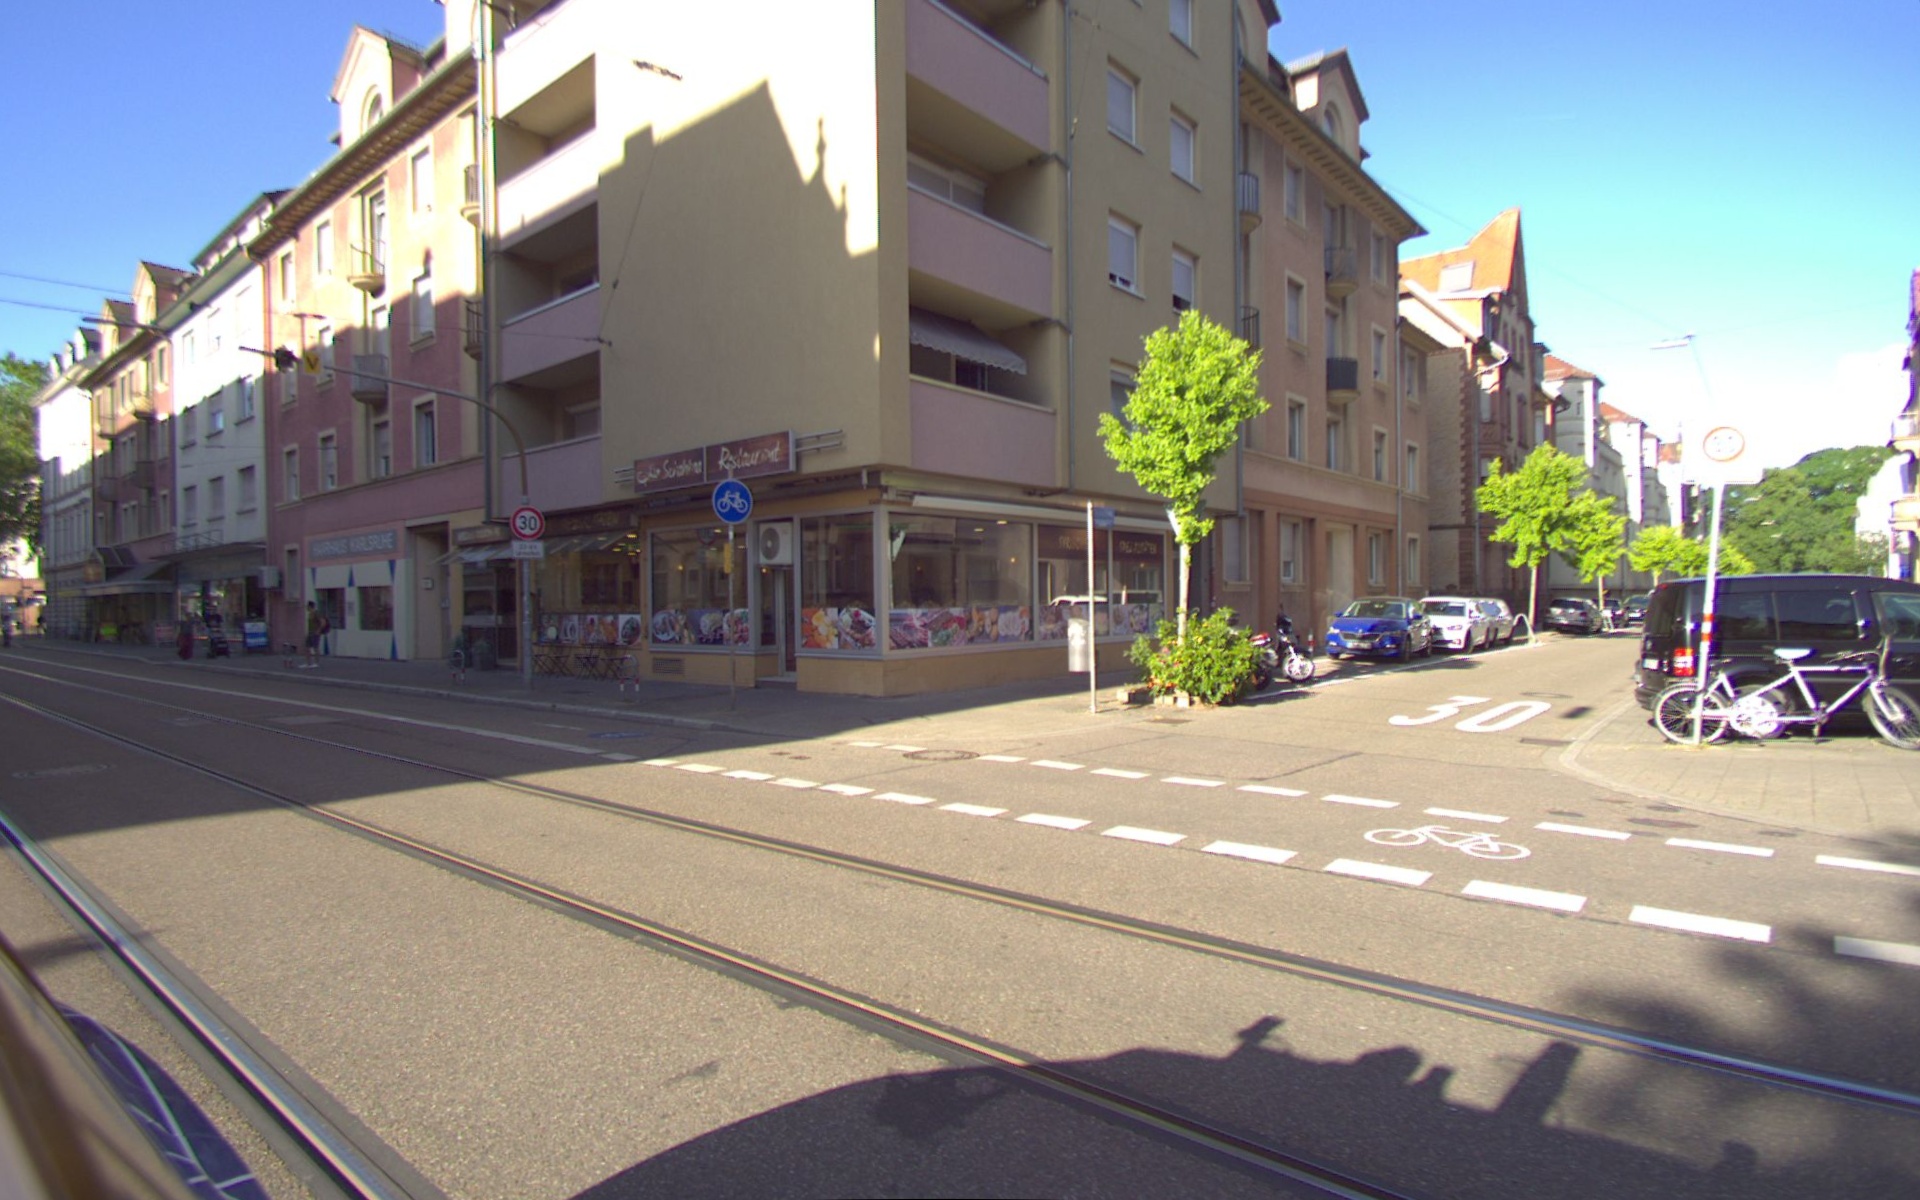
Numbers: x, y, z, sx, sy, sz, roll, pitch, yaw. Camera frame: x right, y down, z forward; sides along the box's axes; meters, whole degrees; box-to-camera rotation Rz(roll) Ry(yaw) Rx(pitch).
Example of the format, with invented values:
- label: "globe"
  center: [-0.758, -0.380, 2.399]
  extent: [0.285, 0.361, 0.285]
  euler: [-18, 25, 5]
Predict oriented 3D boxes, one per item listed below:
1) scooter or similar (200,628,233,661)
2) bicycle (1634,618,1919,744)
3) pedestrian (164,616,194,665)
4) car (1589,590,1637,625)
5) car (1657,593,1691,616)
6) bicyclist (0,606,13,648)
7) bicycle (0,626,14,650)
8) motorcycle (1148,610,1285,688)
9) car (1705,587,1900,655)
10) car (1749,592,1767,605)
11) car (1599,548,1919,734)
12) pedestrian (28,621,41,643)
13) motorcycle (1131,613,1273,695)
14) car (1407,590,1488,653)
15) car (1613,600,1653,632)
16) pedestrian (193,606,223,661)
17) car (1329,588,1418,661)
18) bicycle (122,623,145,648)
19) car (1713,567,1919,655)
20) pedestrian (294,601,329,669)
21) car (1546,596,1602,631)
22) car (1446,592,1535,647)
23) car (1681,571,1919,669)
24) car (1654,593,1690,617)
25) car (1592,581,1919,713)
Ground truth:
- label: "scooter or similar"
  center: [-24.561, 1.459, 33.426]
  extent: [1.104, 1.069, 0.655]
  euler: [-2, 0, 41]
- label: "bicycle"
  center: [8.197, 0.798, 10.062]
  extent: [2.429, 1.118, 0.676]
  euler: [-4, -1, 34]
- label: "pedestrian"
  center: [-25.619, 1.328, 33.183]
  extent: [0.623, 1.560, 0.629]
  euler: [-1, 1, 40]
- label: "car"
  center: [31.387, 0.350, 48.609]
  extent: [1.506, 1.582, 3.521]
  euler: [-1, 1, 39]
- label: "car"
  center: [51.534, 0.322, 73.003]
  extent: [1.793, 1.522, 3.821]
  euler: [-1, 1, 38]
- label: "bicyclist"
  center: [-47.227, 1.325, 49.936]
  extent: [0.733, 2.029, 0.605]
  euler: [-1, 1, 41]
- label: "bicycle"
  center: [-47.375, 1.871, 50.059]
  extent: [2.043, 1.104, 0.596]
  euler: [-1, -2, 41]
- label: "motorcycle"
  center: [4.250, 0.787, 16.893]
  extent: [2.175, 1.218, 0.613]
  euler: [-1, 1, 41]
- label: "car"
  center: [21.952, 0.536, 26.483]
  extent: [3.507, 1.468, 1.616]
  euler: [-4, 0, 6]
- label: "car"
  center: [98.379, -0.167, 124.759]
  extent: [1.726, 1.497, 3.662]
  euler: [-1, 1, 40]
- label: "car"
  center: [9.935, 0.437, 11.259]
  extent: [4.324, 1.831, 1.837]
  euler: [-4, -4, 20]
- label: "pedestrian"
  center: [-78.775, 2.715, 86.132]
  extent: [0.809, 1.861, 0.784]
  euler: [-1, 1, 44]
- label: "motorcycle"
  center: [3.843, 0.824, 16.208]
  extent: [2.175, 1.218, 0.613]
  euler: [-1, 1, 41]
- label: "car"
  center: [13.109, 0.540, 27.399]
  extent: [1.785, 1.522, 3.839]
  euler: [-1, 1, 24]
- label: "car"
  center: [37.170, 0.859, 55.855]
  extent: [1.506, 1.582, 3.521]
  euler: [-1, 1, 39]
- label: "pedestrian"
  center: [-25.494, 1.127, 34.291]
  extent: [0.820, 1.803, 0.619]
  euler: [-1, 1, 40]
- label: "car"
  center: [9.780, 0.518, 23.870]
  extent: [1.785, 1.522, 3.839]
  euler: [-1, 1, 24]
- label: "bicycle"
  center: [-37.942, 1.619, 46.454]
  extent: [2.328, 1.067, 0.420]
  euler: [-1, 1, 41]
- label: "car"
  center: [20.622, 0.249, 24.054]
  extent: [3.951, 1.727, 1.688]
  euler: [-4, 0, 6]
- label: "pedestrian"
  center: [-16.764, 0.893, 26.169]
  extent: [0.616, 1.698, 0.557]
  euler: [-1, 1, 39]
- label: "car"
  center: [25.521, 0.553, 42.004]
  extent: [1.506, 1.316, 3.521]
  euler: [-1, 1, 39]
- label: "car"
  center: [16.477, 0.558, 31.365]
  extent: [1.793, 1.522, 3.821]
  euler: [-1, 1, 38]
- label: "car"
  center: [16.787, 0.362, 19.767]
  extent: [3.951, 1.568, 1.688]
  euler: [-4, 0, 6]
- label: "car"
  center: [47.550, 0.335, 67.573]
  extent: [1.793, 1.522, 3.821]
  euler: [-1, 1, 38]
- label: "car"
  center: [11.125, 0.592, 13.594]
  extent: [3.957, 1.402, 1.843]
  euler: [-4, 0, 10]
